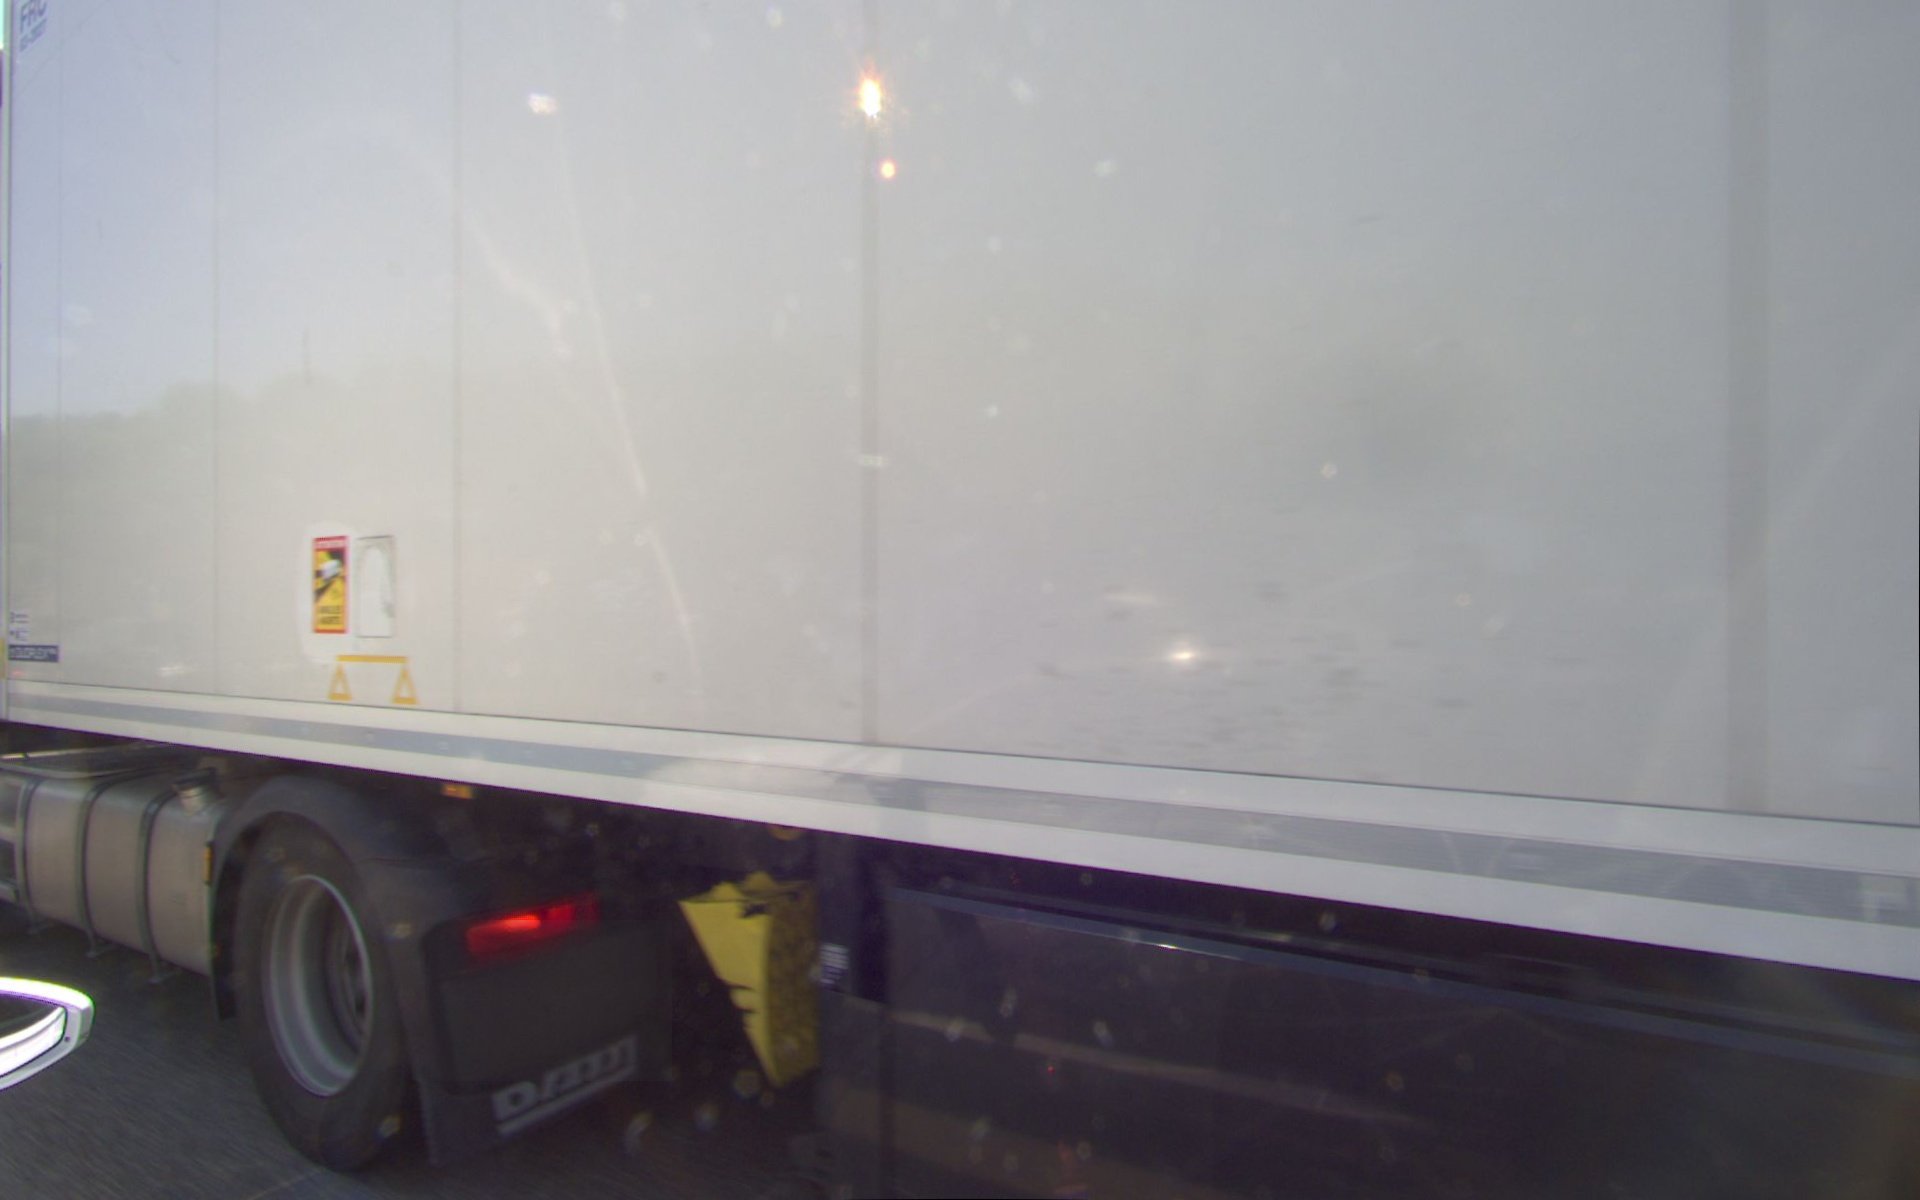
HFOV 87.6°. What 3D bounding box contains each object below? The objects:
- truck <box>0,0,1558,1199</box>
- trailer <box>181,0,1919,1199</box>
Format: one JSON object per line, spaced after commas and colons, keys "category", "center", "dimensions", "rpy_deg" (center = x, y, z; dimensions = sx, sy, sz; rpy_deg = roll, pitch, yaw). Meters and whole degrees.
{"category": "truck", "center": [-2.189, -0.614, 4.290], "dimensions": [8.119, 4.076, 2.509], "rpy_deg": [-1, -2, 32]}
{"category": "trailer", "center": [3.402, -0.571, 0.839], "dimensions": [11.380, 4.179, 2.528], "rpy_deg": [-1, -2, 31]}
